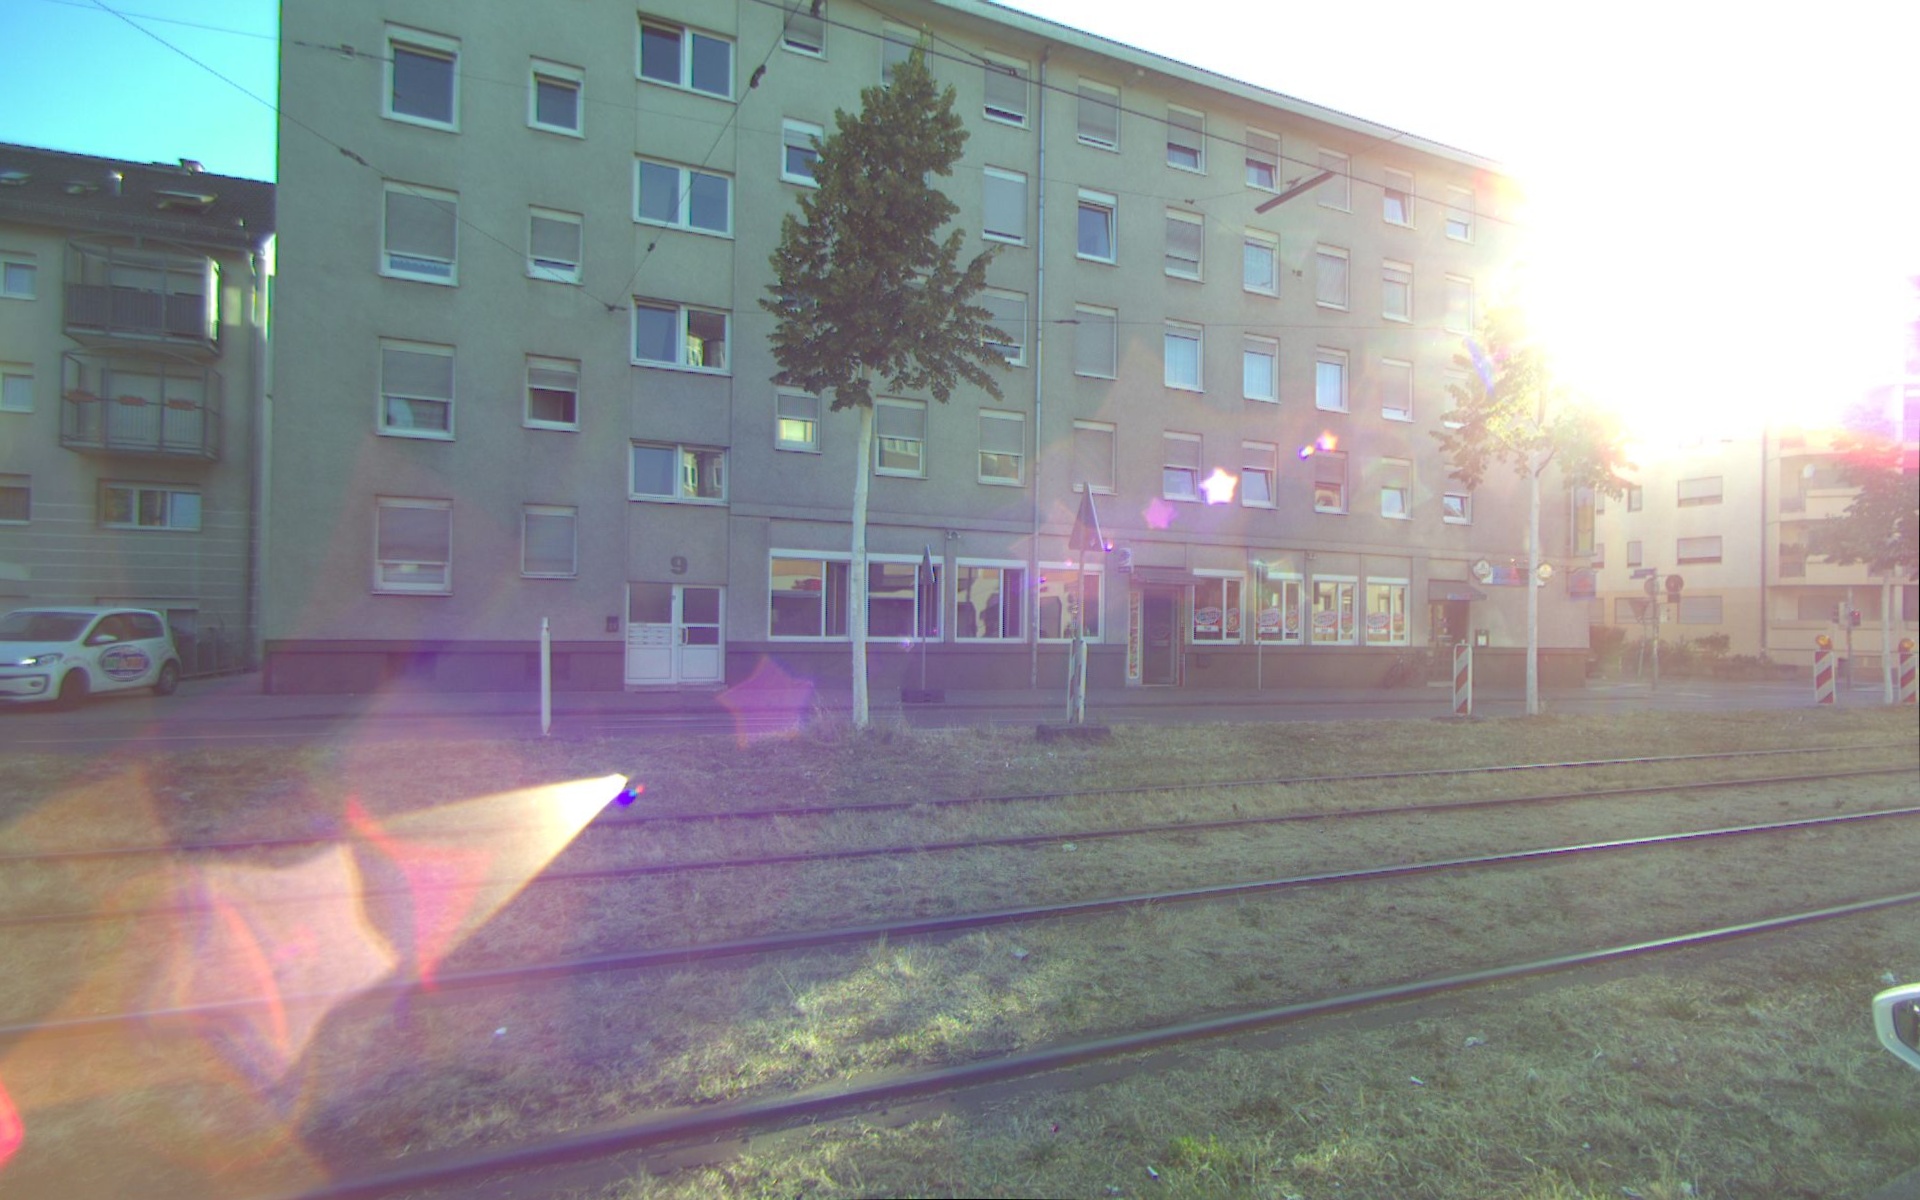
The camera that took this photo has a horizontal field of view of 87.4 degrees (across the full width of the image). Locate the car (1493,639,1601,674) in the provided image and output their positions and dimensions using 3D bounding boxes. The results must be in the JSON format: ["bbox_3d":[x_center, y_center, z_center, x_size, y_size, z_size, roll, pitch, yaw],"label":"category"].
[{"bbox_3d":[26.740,2.558,45.861,1.772,1.458,3.935,2,-3,-33],"label":"car"}]

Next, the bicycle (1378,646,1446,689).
[{"bbox_3d":[12.423,1.848,27.594,1.754,1.129,0.745,2,-2,-24],"label":"bicycle"}]

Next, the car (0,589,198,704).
[{"bbox_3d":[-13.679,0.688,15.302,1.786,1.532,3.821,1,-2,-12],"label":"car"}]

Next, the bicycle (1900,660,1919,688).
[{"bbox_3d":[35.784,2.736,36.928,1.845,0.997,0.530,1,-2,7],"label":"bicycle"}]

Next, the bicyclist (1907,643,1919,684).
[{"bbox_3d":[35.590,2.339,36.965,0.946,1.466,0.530,1,-1,7],"label":"bicyclist"}]
